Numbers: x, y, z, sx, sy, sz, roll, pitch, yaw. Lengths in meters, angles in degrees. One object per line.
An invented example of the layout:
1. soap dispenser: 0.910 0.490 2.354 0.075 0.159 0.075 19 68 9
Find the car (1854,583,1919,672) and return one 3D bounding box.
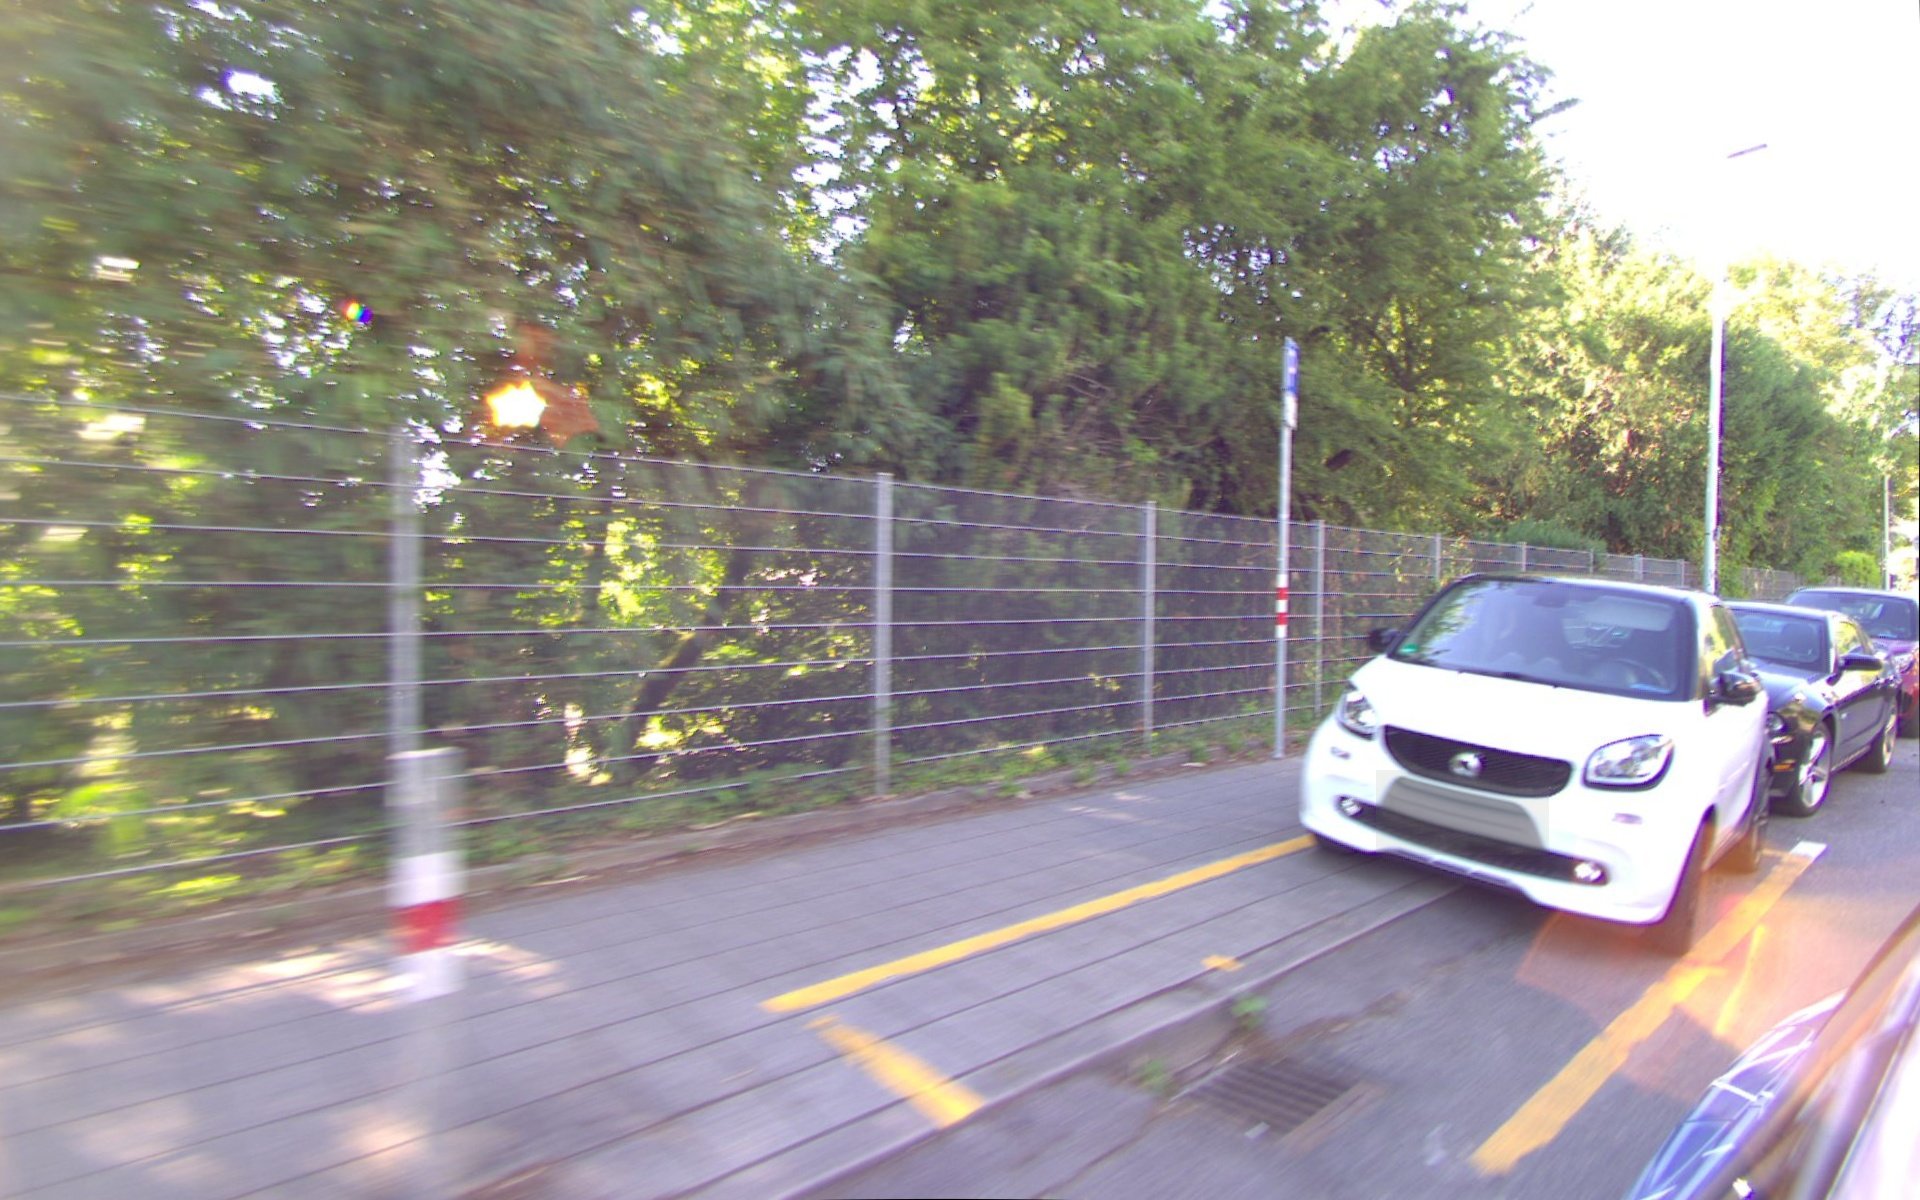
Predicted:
1. car: 17.631 0.466 18.246 3.931 1.458 1.797 0 2 -42

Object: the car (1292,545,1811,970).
1. car: 3.217 0.560 5.325 1.626 1.528 2.856 5 3 45

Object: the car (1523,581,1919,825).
1. car: 6.617 0.628 8.460 4.727 1.517 1.714 0 0 -39

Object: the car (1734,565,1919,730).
1. car: 10.586 0.456 11.882 2.821 1.582 1.658 -1 6 -39
